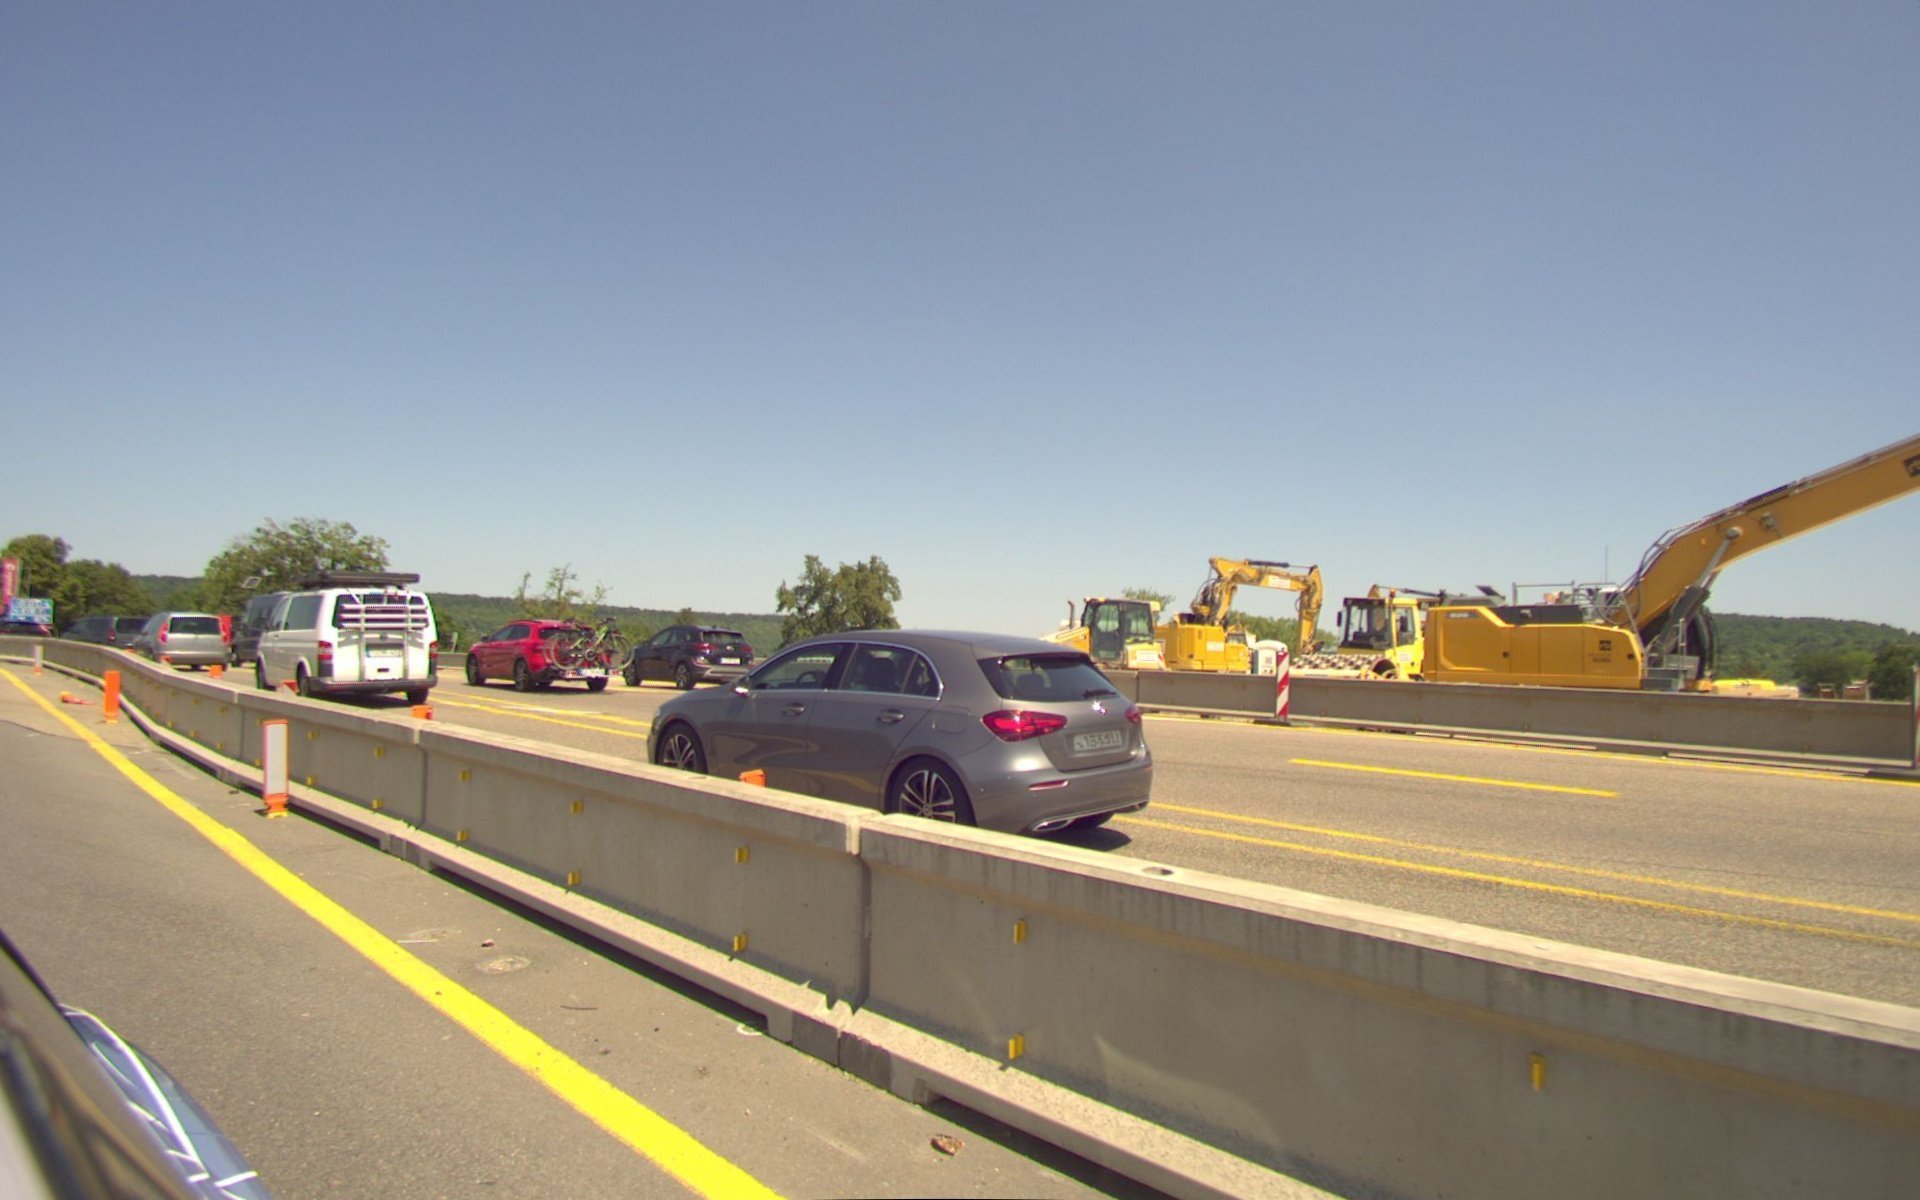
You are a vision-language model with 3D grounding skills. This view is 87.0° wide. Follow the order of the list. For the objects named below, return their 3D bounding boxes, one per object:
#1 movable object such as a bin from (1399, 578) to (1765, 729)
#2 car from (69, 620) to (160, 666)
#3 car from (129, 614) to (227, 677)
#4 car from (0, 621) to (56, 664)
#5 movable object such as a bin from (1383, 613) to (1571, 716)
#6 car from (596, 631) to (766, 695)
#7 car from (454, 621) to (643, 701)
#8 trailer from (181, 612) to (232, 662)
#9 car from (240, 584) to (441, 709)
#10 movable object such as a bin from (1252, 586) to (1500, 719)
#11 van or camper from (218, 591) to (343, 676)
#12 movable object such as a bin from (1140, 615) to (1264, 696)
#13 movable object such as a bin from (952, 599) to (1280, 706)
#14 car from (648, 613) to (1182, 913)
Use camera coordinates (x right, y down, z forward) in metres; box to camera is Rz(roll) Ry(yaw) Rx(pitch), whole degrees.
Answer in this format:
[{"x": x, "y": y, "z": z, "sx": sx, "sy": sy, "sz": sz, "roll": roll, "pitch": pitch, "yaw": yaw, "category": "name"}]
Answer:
[{"x": 11.911, "y": 0.960, "z": 19.615, "sx": 3.254, "sy": 2.459, "sz": 5.442, "roll": 2, "pitch": -3, "yaw": -45, "category": "movable object such as a bin"}, {"x": -35.604, "y": 1.807, "z": 42.579, "sx": 4.700, "sy": 1.778, "sz": 1.759, "roll": -1, "pitch": -5, "yaw": 36, "category": "car"}, {"x": -21.731, "y": 1.233, "z": 28.056, "sx": 1.736, "sy": 1.628, "sz": 4.232, "roll": 2, "pitch": -3, "yaw": -43, "category": "car"}, {"x": -36.148, "y": 1.614, "z": 38.641, "sx": 4.466, "sy": 1.493, "sz": 1.672, "roll": -2, "pitch": -6, "yaw": 40, "category": "car"}, {"x": 18.047, "y": 2.133, "z": 35.355, "sx": 5.537, "sy": 3.281, "sz": 3.766, "roll": -1, "pitch": -2, "yaw": 31, "category": "movable object such as a bin"}, {"x": -6.942, "y": 1.517, "z": 24.932, "sx": 4.654, "sy": 1.404, "sz": 1.786, "roll": -2, "pitch": -6, "yaw": 43, "category": "car"}, {"x": -8.890, "y": 1.244, "z": 21.685, "sx": 4.654, "sy": 1.513, "sz": 1.972, "roll": -2, "pitch": -3, "yaw": 43, "category": "car"}, {"x": -68.845, "y": 3.539, "z": 92.350, "sx": 3.109, "sy": 4.143, "sz": 14.190, "roll": 5, "pitch": -6, "yaw": -38, "category": "trailer"}, {"x": -10.999, "y": 0.780, "z": 17.796, "sx": 5.061, "sy": 1.887, "sz": 1.851, "roll": -2, "pitch": -3, "yaw": 45, "category": "car"}, {"x": 9.993, "y": 1.155, "z": 24.096, "sx": 5.971, "sy": 2.784, "sz": 2.817, "roll": 1, "pitch": -2, "yaw": -37, "category": "movable object such as a bin"}, {"x": -22.843, "y": 1.129, "z": 33.892, "sx": 6.307, "sy": 2.561, "sz": 2.075, "roll": -2, "pitch": -5, "yaw": 44, "category": "van or camper"}, {"x": 8.648, "y": 1.947, "z": 36.409, "sx": 3.305, "sy": 2.748, "sz": 2.888, "roll": 0, "pitch": -1, "yaw": -15, "category": "movable object such as a bin"}, {"x": 4.116, "y": 1.219, "z": 26.560, "sx": 7.792, "sy": 2.451, "sz": 3.730, "roll": 0, "pitch": -1, "yaw": -28, "category": "movable object such as a bin"}, {"x": -0.514, "y": 0.917, "z": 7.393, "sx": 3.951, "sy": 1.616, "sz": 1.494, "roll": 0, "pitch": -1, "yaw": 41, "category": "car"}]
